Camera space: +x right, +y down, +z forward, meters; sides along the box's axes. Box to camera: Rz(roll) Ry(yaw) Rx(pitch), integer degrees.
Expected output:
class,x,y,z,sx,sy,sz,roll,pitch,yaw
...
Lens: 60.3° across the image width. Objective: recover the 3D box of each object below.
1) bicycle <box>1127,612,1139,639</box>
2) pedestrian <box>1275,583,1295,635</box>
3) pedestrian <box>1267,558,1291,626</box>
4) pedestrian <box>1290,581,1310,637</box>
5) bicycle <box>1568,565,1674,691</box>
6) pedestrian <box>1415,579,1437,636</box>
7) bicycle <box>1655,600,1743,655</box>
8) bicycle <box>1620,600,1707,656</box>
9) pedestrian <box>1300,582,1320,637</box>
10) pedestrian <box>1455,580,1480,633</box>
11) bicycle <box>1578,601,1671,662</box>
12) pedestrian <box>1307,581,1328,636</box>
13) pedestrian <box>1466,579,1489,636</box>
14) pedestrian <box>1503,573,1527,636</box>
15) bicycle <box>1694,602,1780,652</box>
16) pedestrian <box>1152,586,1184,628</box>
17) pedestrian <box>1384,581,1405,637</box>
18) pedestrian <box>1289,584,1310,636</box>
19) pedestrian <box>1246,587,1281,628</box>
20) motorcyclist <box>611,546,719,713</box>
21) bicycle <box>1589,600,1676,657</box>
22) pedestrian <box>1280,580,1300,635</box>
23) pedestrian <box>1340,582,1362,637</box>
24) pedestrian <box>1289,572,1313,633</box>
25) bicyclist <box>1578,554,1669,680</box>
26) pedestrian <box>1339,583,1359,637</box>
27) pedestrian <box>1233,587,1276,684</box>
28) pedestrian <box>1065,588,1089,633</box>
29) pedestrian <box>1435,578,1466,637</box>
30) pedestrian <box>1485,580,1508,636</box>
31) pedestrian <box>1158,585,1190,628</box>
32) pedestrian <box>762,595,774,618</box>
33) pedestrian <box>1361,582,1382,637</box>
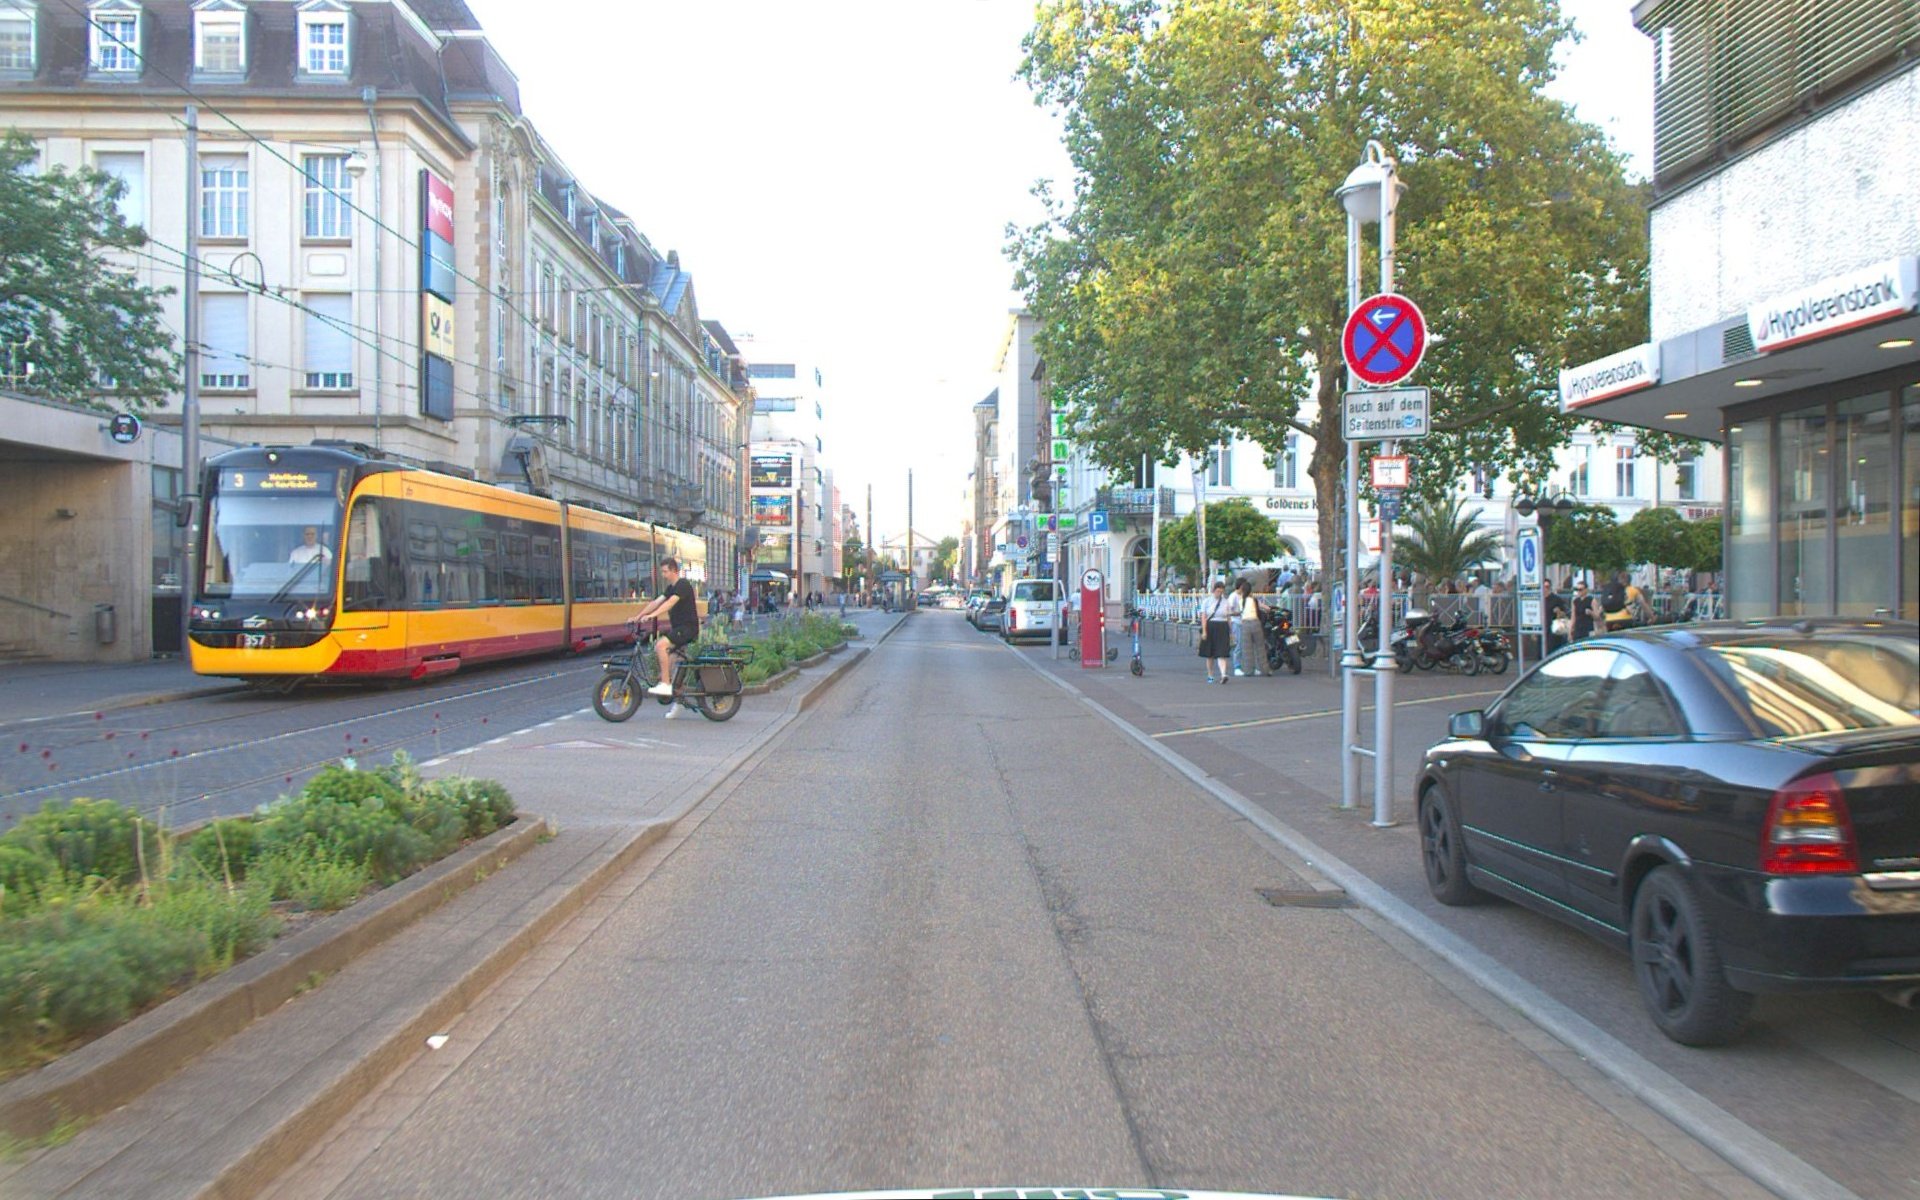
class,x,y,z,sx,sy,sz,roll,pitch,yaw
bicycle,6.037,0.891,57.782,0.245,0.918,1.373,0,-2,-1
pedestrian,8.418,0.245,42.832,0.463,1.328,0.540,-1,-2,13
pedestrian,11.138,-0.287,57.719,0.604,2.345,0.577,1,-2,-23
pedestrian,8.426,0.228,40.984,0.463,1.353,0.540,-1,-2,13
bicycle,9.755,0.395,24.358,0.593,1.770,2.351,0,0,45
pedestrian,10.875,0.188,38.588,0.464,1.307,0.540,-1,-2,15
bicycle,18.771,0.690,42.049,0.437,1.314,2.090,-1,2,-36
bicycle,17.574,0.680,41.354,0.437,1.314,2.090,-2,2,-36
pedestrian,8.541,0.237,40.375,0.463,1.307,0.540,-1,-2,13
pedestrian,12.716,0.158,41.439,0.527,1.307,0.475,-1,-2,9
bicycle,15.378,0.712,38.333,0.437,1.314,2.090,-1,2,-36
pedestrian,8.589,0.219,39.752,0.463,1.307,0.540,-1,-2,13
pedestrian,11.954,0.183,38.223,0.464,1.307,0.540,-1,-2,15
pedestrian,12.721,0.112,37.900,0.464,1.424,0.540,-1,-2,15
bicycle,21.116,0.715,44.982,2.073,1.314,0.441,1,0,34
pedestrian,6.763,0.234,53.730,0.884,1.329,0.966,0,-2,-2
pedestrian,10.245,0.208,39.013,0.464,1.307,0.540,-1,-2,15
pedestrian,8.534,0.252,41.567,0.463,1.307,0.540,-1,-2,13
pedestrian,9.736,0.243,53.137,0.944,1.289,0.905,0,-2,-1
motorcyclist,-3.377,0.341,18.919,0.990,1.845,0.951,1,-2,-28
bicycle,16.605,0.695,40.869,0.437,1.314,2.090,-2,2,-36
pedestrian,8.432,0.204,42.212,0.463,1.388,0.540,-1,-2,13
pedestrian,9.404,0.234,39.776,0.464,1.307,0.540,-1,-2,15
pedestrian,9.056,0.069,43.915,0.605,1.599,0.631,-1,-2,13
bicyclist,9.765,0.241,24.342,0.954,1.807,0.925,0,0,45
pedestrian,9.504,0.252,40.412,0.463,1.307,0.540,-1,-2,13
pedestrian,5.365,0.653,30.186,0.664,1.747,0.654,0,-2,1
pedestrian,4.728,0.422,66.760,0.772,1.782,0.893,0,-2,-8
pedestrian,11.151,0.173,37.637,0.630,1.307,0.741,-1,-2,15
pedestrian,12.607,0.186,38.860,0.464,1.307,0.540,-1,-2,15
pedestrian,6.815,0.206,52.690,0.884,1.337,0.966,0,-2,-2
pedestrian,-13.540,0.452,116.491,0.764,1.608,0.676,0,0,-13
pedestrian,9.803,0.227,39.417,0.466,1.307,0.525,-1,-2,16
